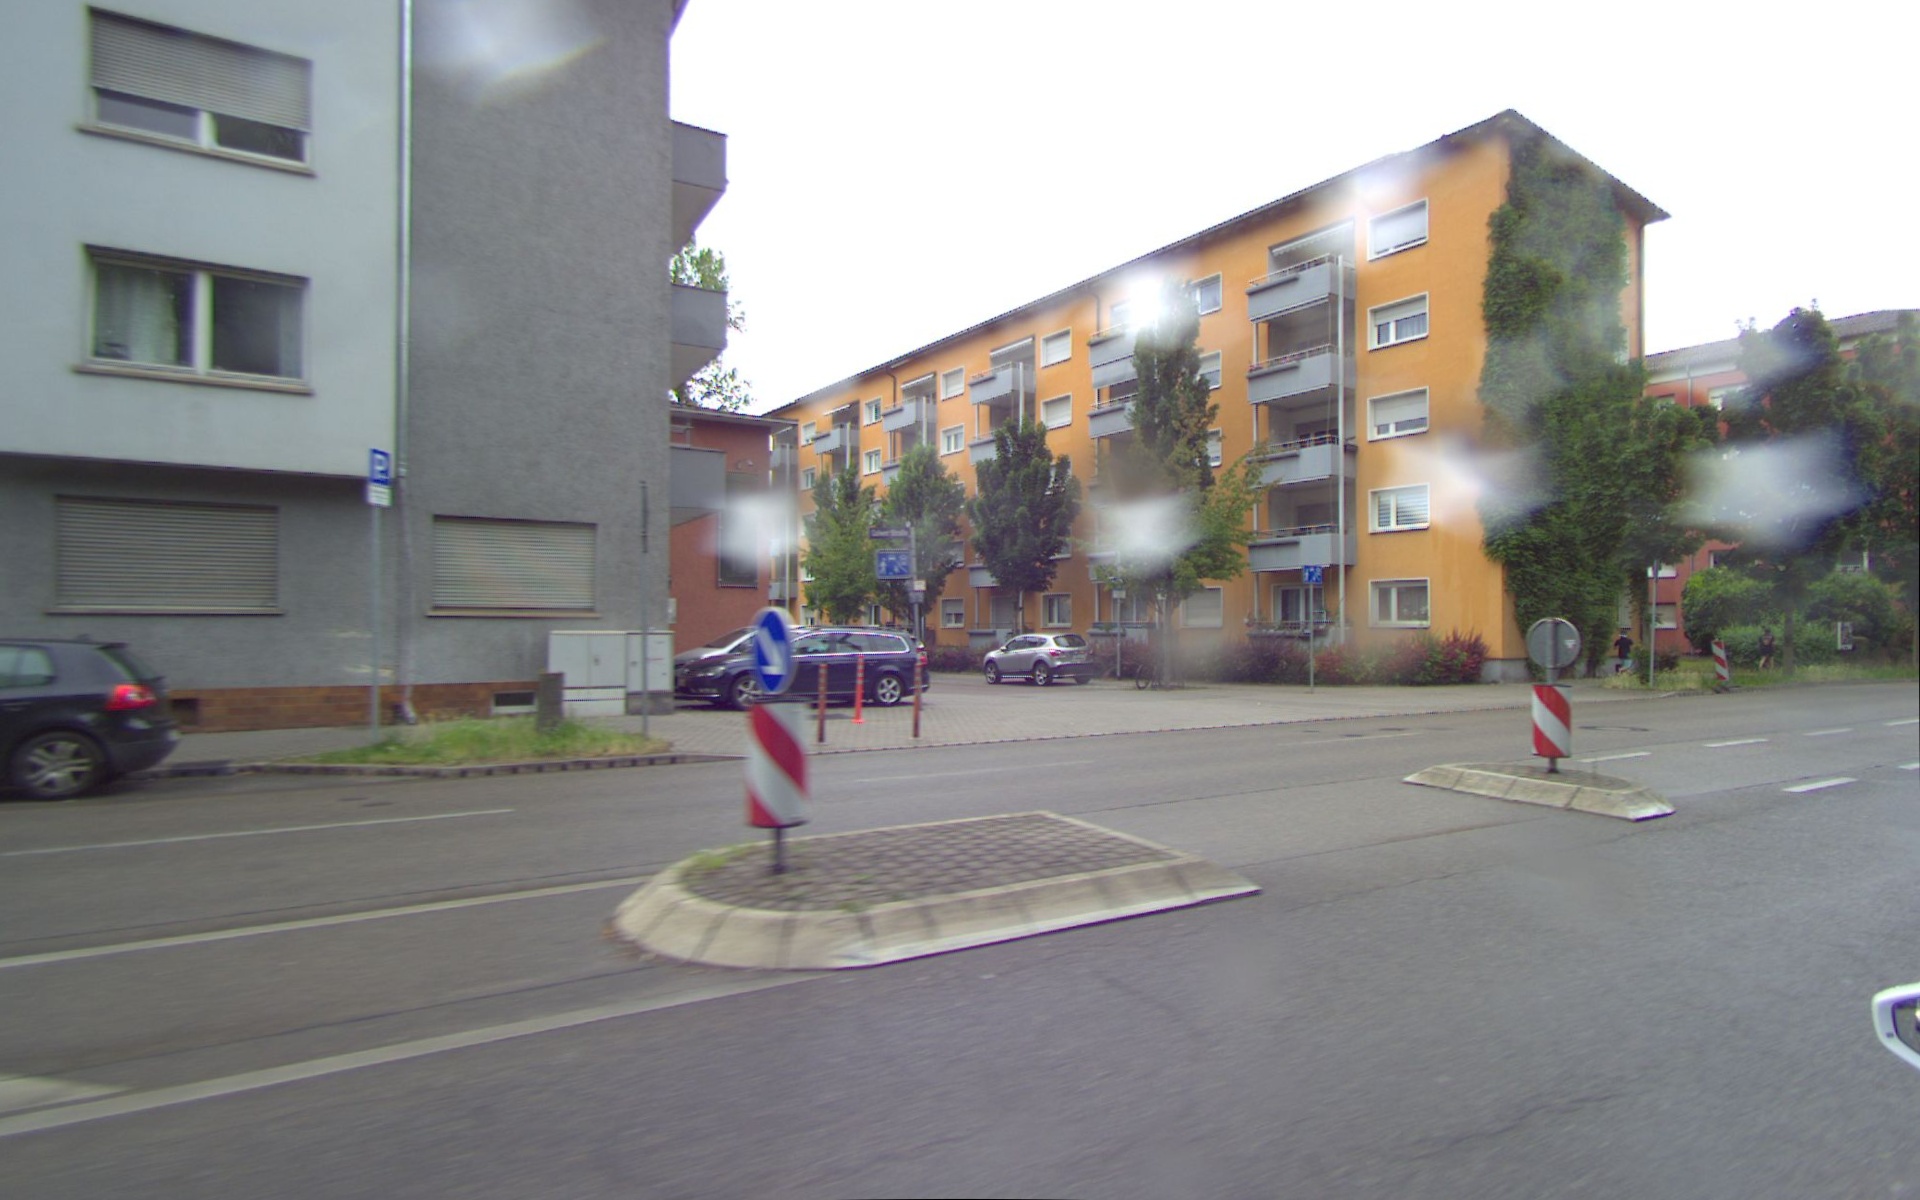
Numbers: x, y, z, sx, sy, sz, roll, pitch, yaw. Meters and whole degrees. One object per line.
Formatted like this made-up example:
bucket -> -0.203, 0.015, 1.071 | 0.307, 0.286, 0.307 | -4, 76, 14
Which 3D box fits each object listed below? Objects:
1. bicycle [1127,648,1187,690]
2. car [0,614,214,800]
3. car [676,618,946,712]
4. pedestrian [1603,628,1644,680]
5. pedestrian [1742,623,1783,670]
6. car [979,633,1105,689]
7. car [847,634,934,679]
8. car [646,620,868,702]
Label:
bicycle -> 5.311, 1.843, 27.012 | 1.920, 1.072, 0.526 | 2, -3, -41
car -> -9.512, 0.920, 9.102 | 4.200, 1.565, 1.837 | 2, 0, -32
car -> -2.708, 1.177, 18.632 | 4.584, 1.505, 1.841 | 2, 0, -32
pedestrian -> 19.025, 1.541, 28.804 | 0.826, 1.468, 0.668 | 1, -2, -30
pedestrian -> 26.517, 1.542, 33.186 | 1.057, 1.537, 0.689 | 1, -2, -30
car -> 2.509, 1.872, 31.589 | 1.883, 1.613, 3.962 | 0, -2, -35
car -> -2.787, 2.234, 39.780 | 1.832, 1.683, 3.817 | 2, -3, -33
car -> -4.160, 1.237, 20.821 | 4.182, 1.545, 1.721 | 2, -3, -32
